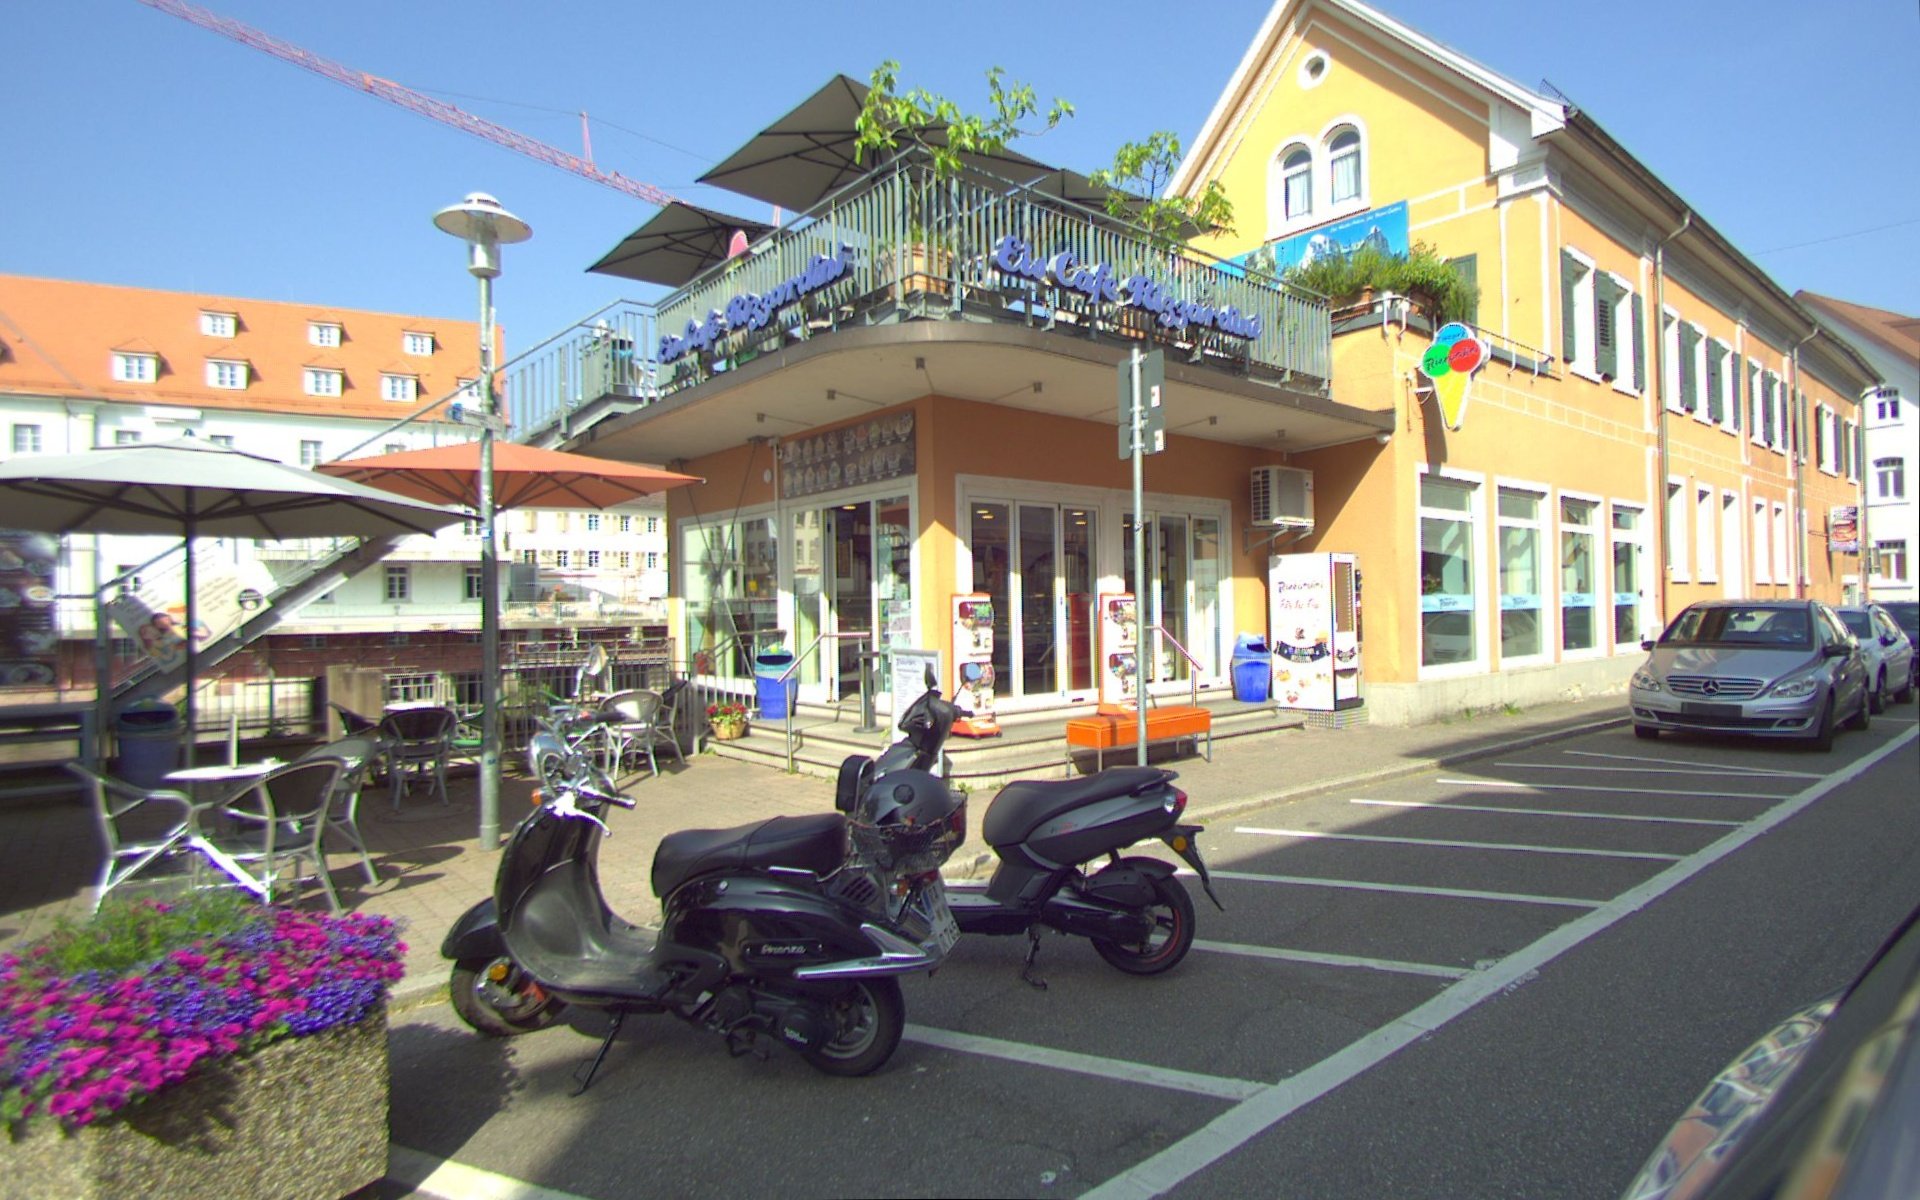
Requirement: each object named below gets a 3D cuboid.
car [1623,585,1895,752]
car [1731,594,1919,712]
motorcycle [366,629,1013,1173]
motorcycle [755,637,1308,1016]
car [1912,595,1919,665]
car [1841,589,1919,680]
[{"bbox_3d":[9.551,0.683,11.959,4.515,1.617,1.747,0,-1,-42],"label":"car"},{"bbox_3d":[13.355,0.720,15.377,4.029,1.579,1.682,0,-1,-39],"label":"car"},{"bbox_3d":[-0.835,0.802,3.338,1.873,1.375,0.912,0,-1,16],"label":"motorcycle"},{"bbox_3d":[0.290,0.819,4.214,2.057,1.286,0.926,0,0,11],"label":"motorcycle"},{"bbox_3d":[23.692,0.689,23.583,4.111,1.559,1.682,0,0,-39],"label":"car"},{"bbox_3d":[19.068,0.637,20.108,4.174,1.666,1.682,0,0,-39],"label":"car"}]
